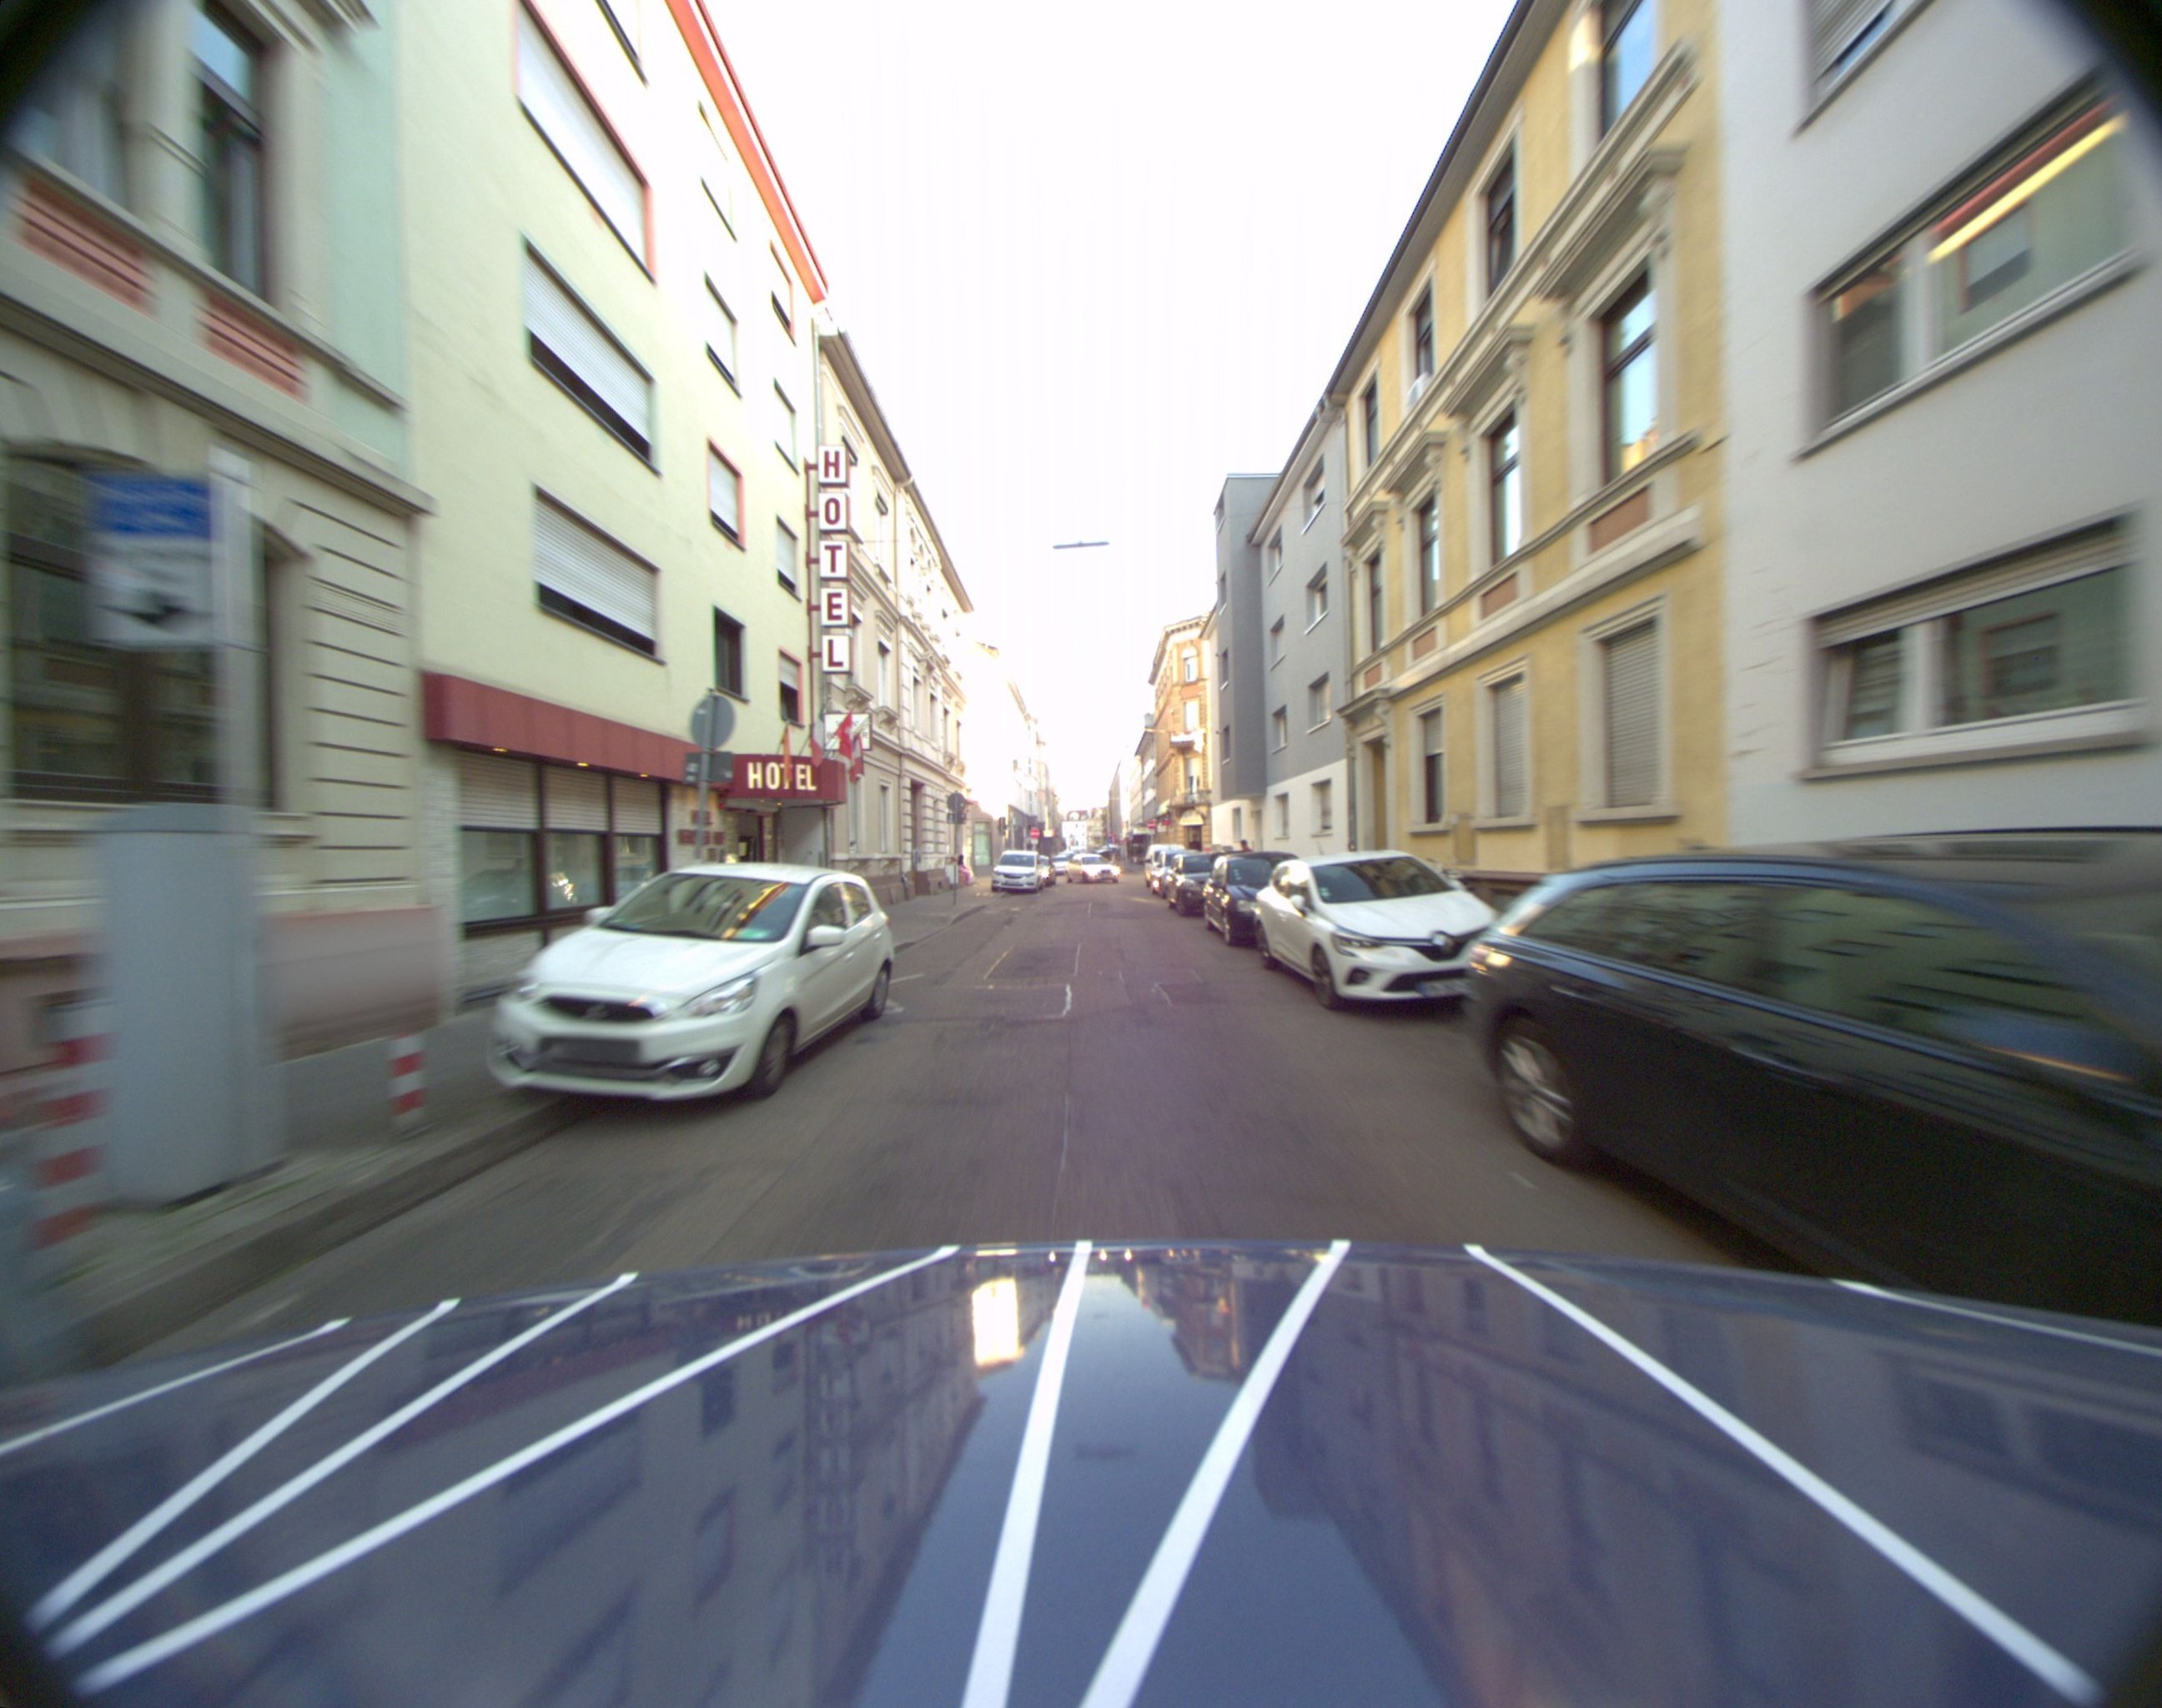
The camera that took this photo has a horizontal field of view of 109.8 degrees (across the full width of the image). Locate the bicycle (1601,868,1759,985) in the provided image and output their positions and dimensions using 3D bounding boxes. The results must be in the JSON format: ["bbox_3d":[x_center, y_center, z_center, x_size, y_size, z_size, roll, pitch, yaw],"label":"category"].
[{"bbox_3d":[5.834,0.658,7.501,0.292,1.003,1.543,-1,0,-2],"label":"bicycle"}]

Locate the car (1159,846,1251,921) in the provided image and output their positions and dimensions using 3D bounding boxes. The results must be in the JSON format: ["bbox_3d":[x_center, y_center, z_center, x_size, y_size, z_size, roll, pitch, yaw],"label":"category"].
[{"bbox_3d":[3.048,0.677,19.393,1.642,1.701,3.782,-1,0,-1],"label":"car"}]

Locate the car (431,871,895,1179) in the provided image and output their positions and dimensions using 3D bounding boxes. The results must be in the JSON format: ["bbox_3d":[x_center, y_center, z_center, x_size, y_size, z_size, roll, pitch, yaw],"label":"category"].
[{"bbox_3d":[-2.733,0.985,5.965,1.574,1.569,3.589,-1,0,1],"label":"car"}]

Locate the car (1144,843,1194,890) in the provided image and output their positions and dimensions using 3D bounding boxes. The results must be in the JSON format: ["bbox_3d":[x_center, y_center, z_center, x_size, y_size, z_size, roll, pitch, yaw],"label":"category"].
[{"bbox_3d":[3.548,0.481,31.069,1.642,1.786,3.783,-1,0,1],"label":"car"}]

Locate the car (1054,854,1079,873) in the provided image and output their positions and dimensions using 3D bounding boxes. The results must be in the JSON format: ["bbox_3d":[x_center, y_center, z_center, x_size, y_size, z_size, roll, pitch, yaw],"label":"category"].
[{"bbox_3d":[-1.115,0.716,59.177,1.729,1.391,3.892,-1,0,2],"label":"car"}]

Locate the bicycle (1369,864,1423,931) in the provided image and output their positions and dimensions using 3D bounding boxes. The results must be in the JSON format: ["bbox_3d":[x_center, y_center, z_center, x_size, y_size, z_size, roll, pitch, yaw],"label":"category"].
[{"bbox_3d":[5.650,0.752,13.698,0.382,1.108,1.544,-1,0,2],"label":"bicycle"}]

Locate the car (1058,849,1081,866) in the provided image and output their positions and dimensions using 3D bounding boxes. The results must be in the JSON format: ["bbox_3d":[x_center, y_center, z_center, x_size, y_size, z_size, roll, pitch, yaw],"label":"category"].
[{"bbox_3d":[-0.971,0.279,64.100,1.729,1.391,3.892,-1,0,2],"label":"car"}]

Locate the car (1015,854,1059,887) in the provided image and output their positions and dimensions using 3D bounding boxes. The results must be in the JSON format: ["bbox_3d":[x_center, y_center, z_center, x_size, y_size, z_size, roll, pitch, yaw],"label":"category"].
[{"bbox_3d":[-2.053,0.746,36.416,1.729,1.469,3.976,-2,0,2],"label":"car"}]

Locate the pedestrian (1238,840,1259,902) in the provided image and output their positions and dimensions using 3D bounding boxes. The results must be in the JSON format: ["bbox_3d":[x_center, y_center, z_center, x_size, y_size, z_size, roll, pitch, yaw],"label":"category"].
[{"bbox_3d":[4.791,0.480,21.751,0.456,1.745,0.455,-1,1,-1],"label":"pedestrian"}]

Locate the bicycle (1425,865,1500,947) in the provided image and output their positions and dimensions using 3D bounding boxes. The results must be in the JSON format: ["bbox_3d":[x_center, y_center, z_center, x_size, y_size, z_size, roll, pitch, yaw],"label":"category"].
[{"bbox_3d":[5.669,0.735,11.360,0.382,1.108,1.544,-1,0,2],"label":"bicycle"}]

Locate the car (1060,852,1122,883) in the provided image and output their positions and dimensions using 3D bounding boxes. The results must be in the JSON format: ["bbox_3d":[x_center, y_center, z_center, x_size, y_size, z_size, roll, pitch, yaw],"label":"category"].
[{"bbox_3d":[0.425,0.677,38.171,1.683,1.395,4.464,-2,0,-18],"label":"car"}]

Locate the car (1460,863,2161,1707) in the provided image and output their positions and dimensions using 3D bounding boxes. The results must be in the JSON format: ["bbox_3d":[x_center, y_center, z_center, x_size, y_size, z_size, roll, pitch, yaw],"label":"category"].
[{"bbox_3d":[2.949,0.843,1.904,1.795,1.530,4.494,-1,0,1],"label":"car"}]

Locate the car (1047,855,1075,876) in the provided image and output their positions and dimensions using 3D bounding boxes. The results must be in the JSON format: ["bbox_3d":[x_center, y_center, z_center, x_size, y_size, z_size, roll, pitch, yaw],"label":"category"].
[{"bbox_3d":[-1.359,0.796,53.618,1.729,1.391,3.892,-1,0,2],"label":"car"}]

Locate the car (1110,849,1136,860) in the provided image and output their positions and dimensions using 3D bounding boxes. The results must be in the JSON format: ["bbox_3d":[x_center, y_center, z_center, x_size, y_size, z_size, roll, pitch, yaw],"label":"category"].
[{"bbox_3d":[6.634,0.117,119.126,3.881,1.568,1.734,-1,1,44],"label":"car"}]

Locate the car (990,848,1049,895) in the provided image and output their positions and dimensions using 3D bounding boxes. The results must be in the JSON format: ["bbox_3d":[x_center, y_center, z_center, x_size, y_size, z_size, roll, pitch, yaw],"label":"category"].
[{"bbox_3d":[-2.455,0.642,31.260,1.841,1.685,4.359,4,0,2],"label":"car"}]

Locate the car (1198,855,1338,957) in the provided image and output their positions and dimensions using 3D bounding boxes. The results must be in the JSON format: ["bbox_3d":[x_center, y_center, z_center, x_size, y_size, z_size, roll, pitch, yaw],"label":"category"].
[{"bbox_3d":[3.106,0.782,13.366,1.642,1.480,3.954,-1,0,3],"label":"car"}]

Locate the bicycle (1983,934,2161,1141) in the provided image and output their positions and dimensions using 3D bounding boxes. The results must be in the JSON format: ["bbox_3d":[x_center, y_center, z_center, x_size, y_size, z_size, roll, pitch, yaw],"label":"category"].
[{"bbox_3d":[5.847,1.010,3.997,0.292,1.003,1.543,-1,0,-4],"label":"bicycle"}]

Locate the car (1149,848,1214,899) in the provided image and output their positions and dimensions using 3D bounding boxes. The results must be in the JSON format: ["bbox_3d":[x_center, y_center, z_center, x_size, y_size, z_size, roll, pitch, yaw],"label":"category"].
[{"bbox_3d":[3.346,0.613,25.957,1.642,1.571,3.782,-1,0,-1],"label":"car"}]

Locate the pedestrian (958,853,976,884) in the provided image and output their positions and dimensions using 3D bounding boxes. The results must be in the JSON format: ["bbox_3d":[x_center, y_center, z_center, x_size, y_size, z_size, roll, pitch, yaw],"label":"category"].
[{"bbox_3d":[-5.294,0.680,35.270,0.696,1.415,0.483,-1,1,2],"label":"pedestrian"}]

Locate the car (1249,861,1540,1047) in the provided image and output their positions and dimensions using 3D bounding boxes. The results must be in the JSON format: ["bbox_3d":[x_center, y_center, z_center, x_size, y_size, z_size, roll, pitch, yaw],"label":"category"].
[{"bbox_3d":[3.052,0.861,8.286,1.642,1.480,3.788,-1,0,1],"label":"car"}]
